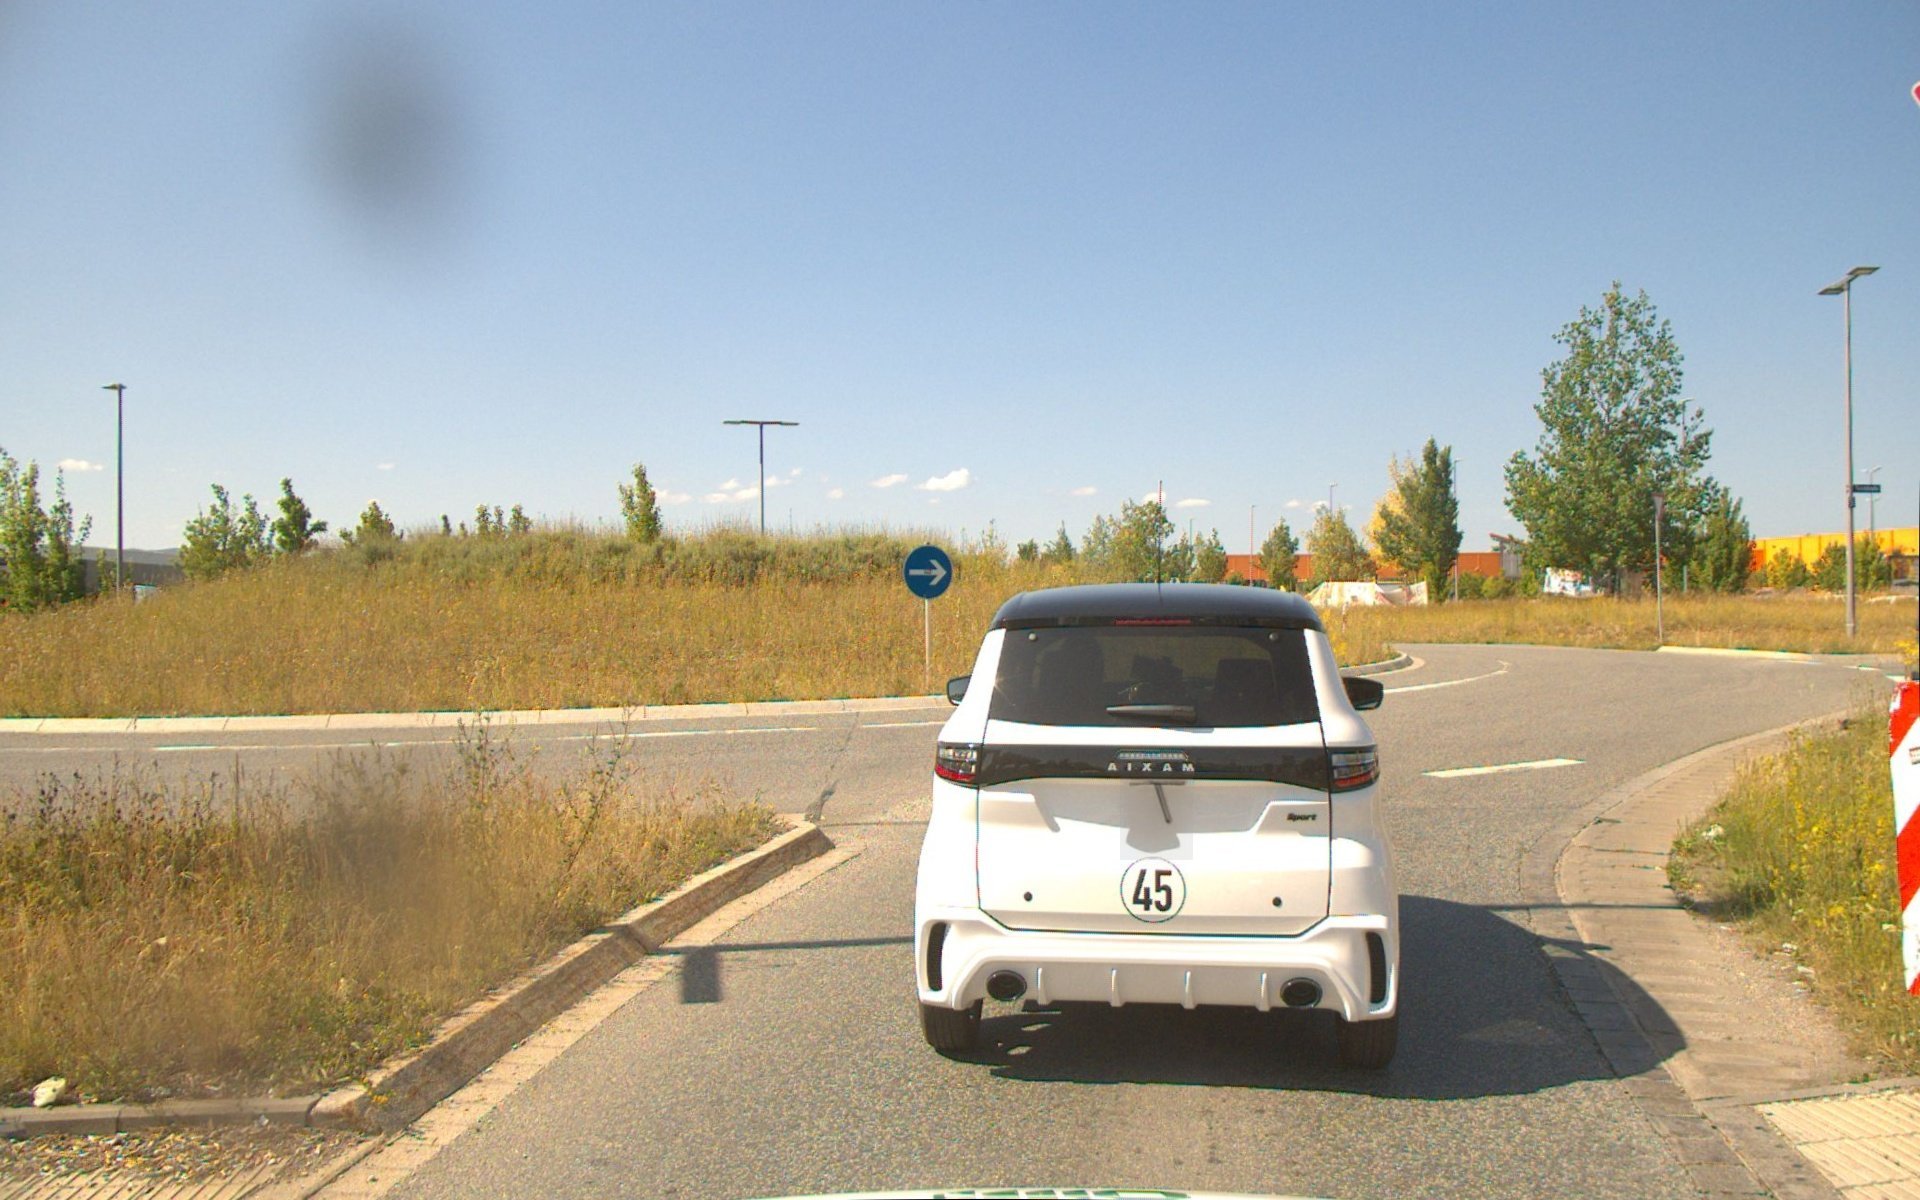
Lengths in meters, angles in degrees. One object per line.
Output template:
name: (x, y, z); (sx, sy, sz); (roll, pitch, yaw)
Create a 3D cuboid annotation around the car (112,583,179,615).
car: (-45.498, -0.036, 92.466); (1.954, 1.762, 3.997); (-1, 0, -3)

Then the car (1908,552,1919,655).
car: (17.044, 0.030, 26.159); (4.112, 1.612, 1.812); (-1, 0, -31)

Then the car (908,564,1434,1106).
car: (0.828, 0.619, 6.356); (1.477, 1.465, 3.354); (0, 2, 8)
